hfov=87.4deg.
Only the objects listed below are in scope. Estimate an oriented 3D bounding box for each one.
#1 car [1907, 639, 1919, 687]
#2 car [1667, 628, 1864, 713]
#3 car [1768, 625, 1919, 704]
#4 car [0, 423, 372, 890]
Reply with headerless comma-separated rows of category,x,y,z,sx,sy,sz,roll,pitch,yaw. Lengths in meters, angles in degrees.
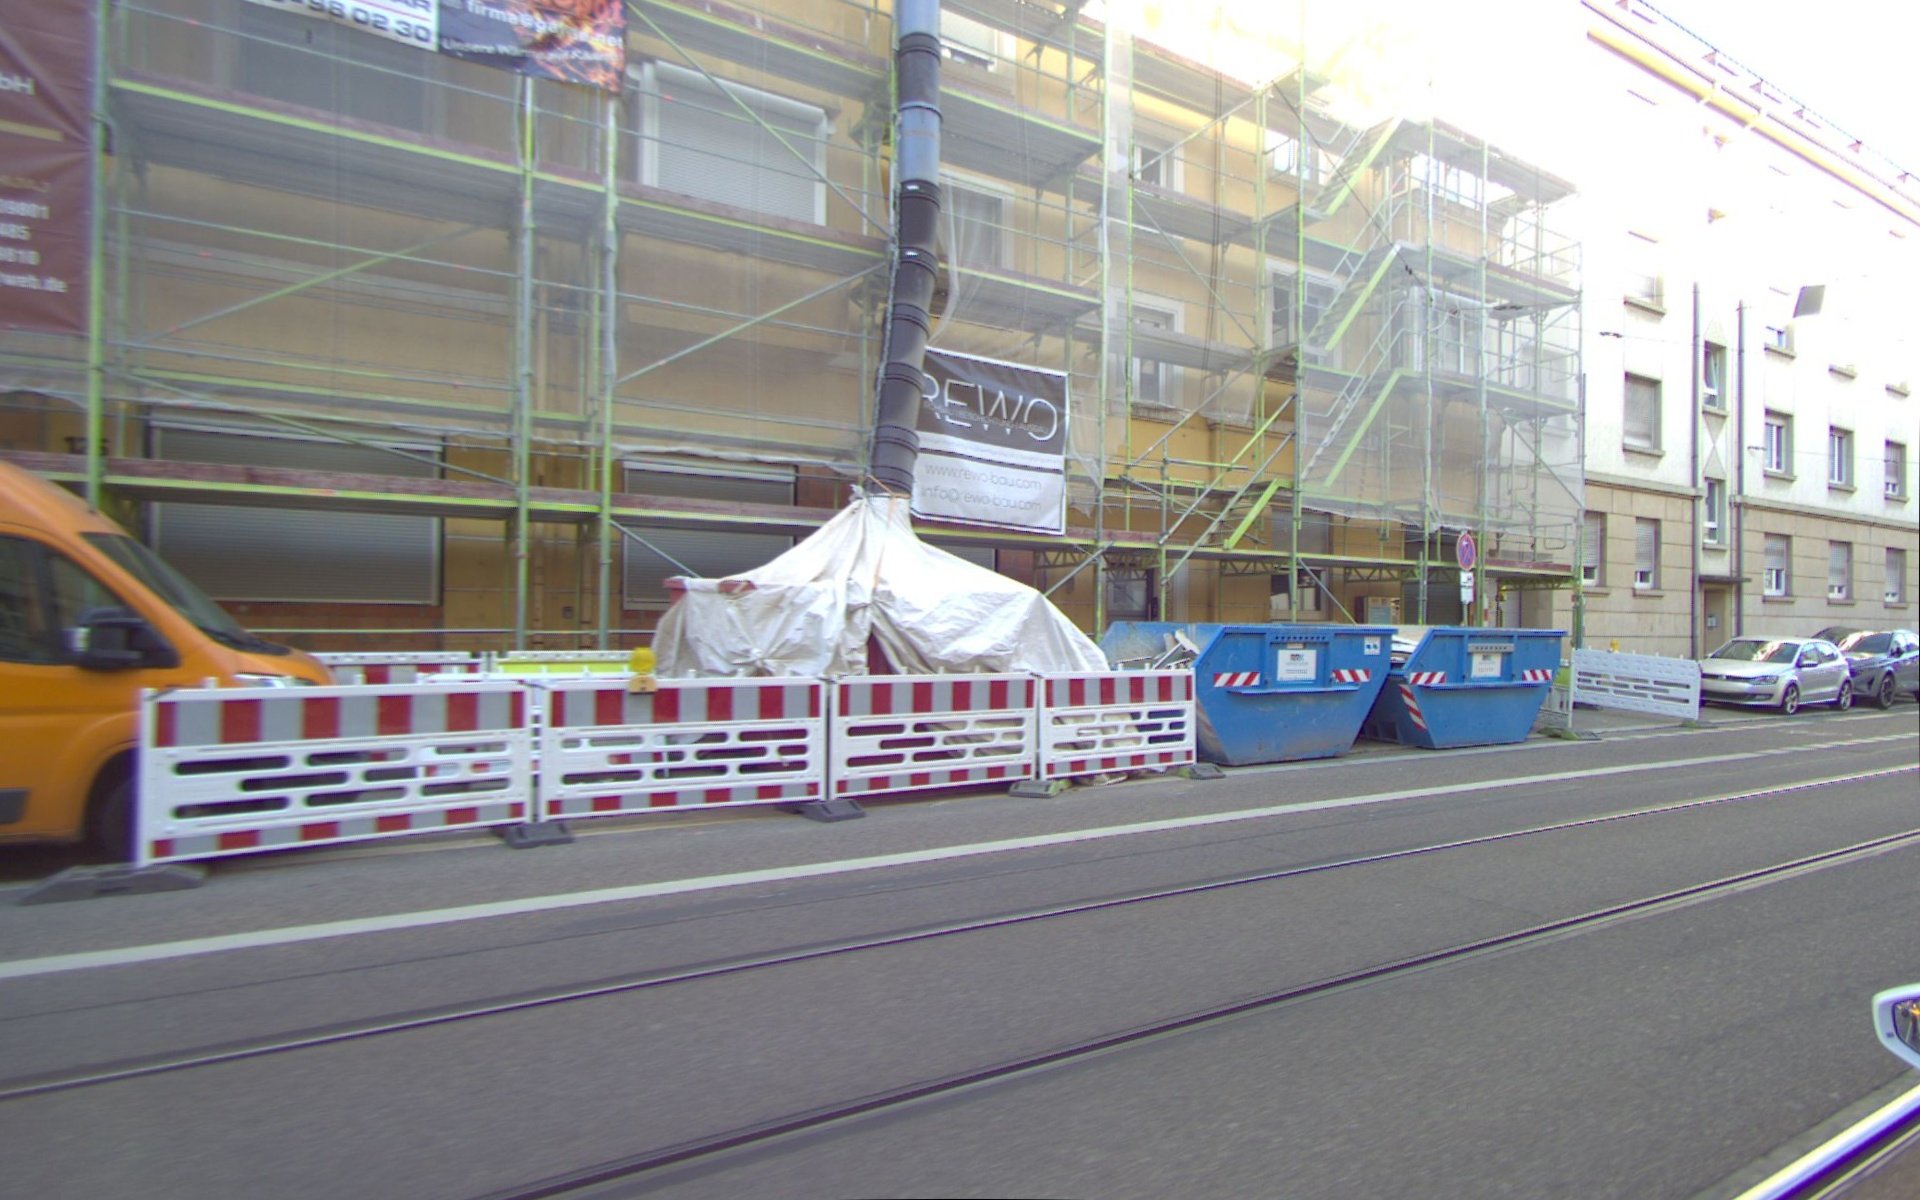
car,26.742,1.715,26.465,3.743,1.232,1.690,2,0,-32
car,16.031,1.368,19.961,3.953,1.434,1.691,2,2,-30
car,19.890,1.368,22.223,4.354,1.588,1.691,1,-1,-30
car,-6.787,0.298,5.650,5.929,2.502,2.110,1,-2,-30
